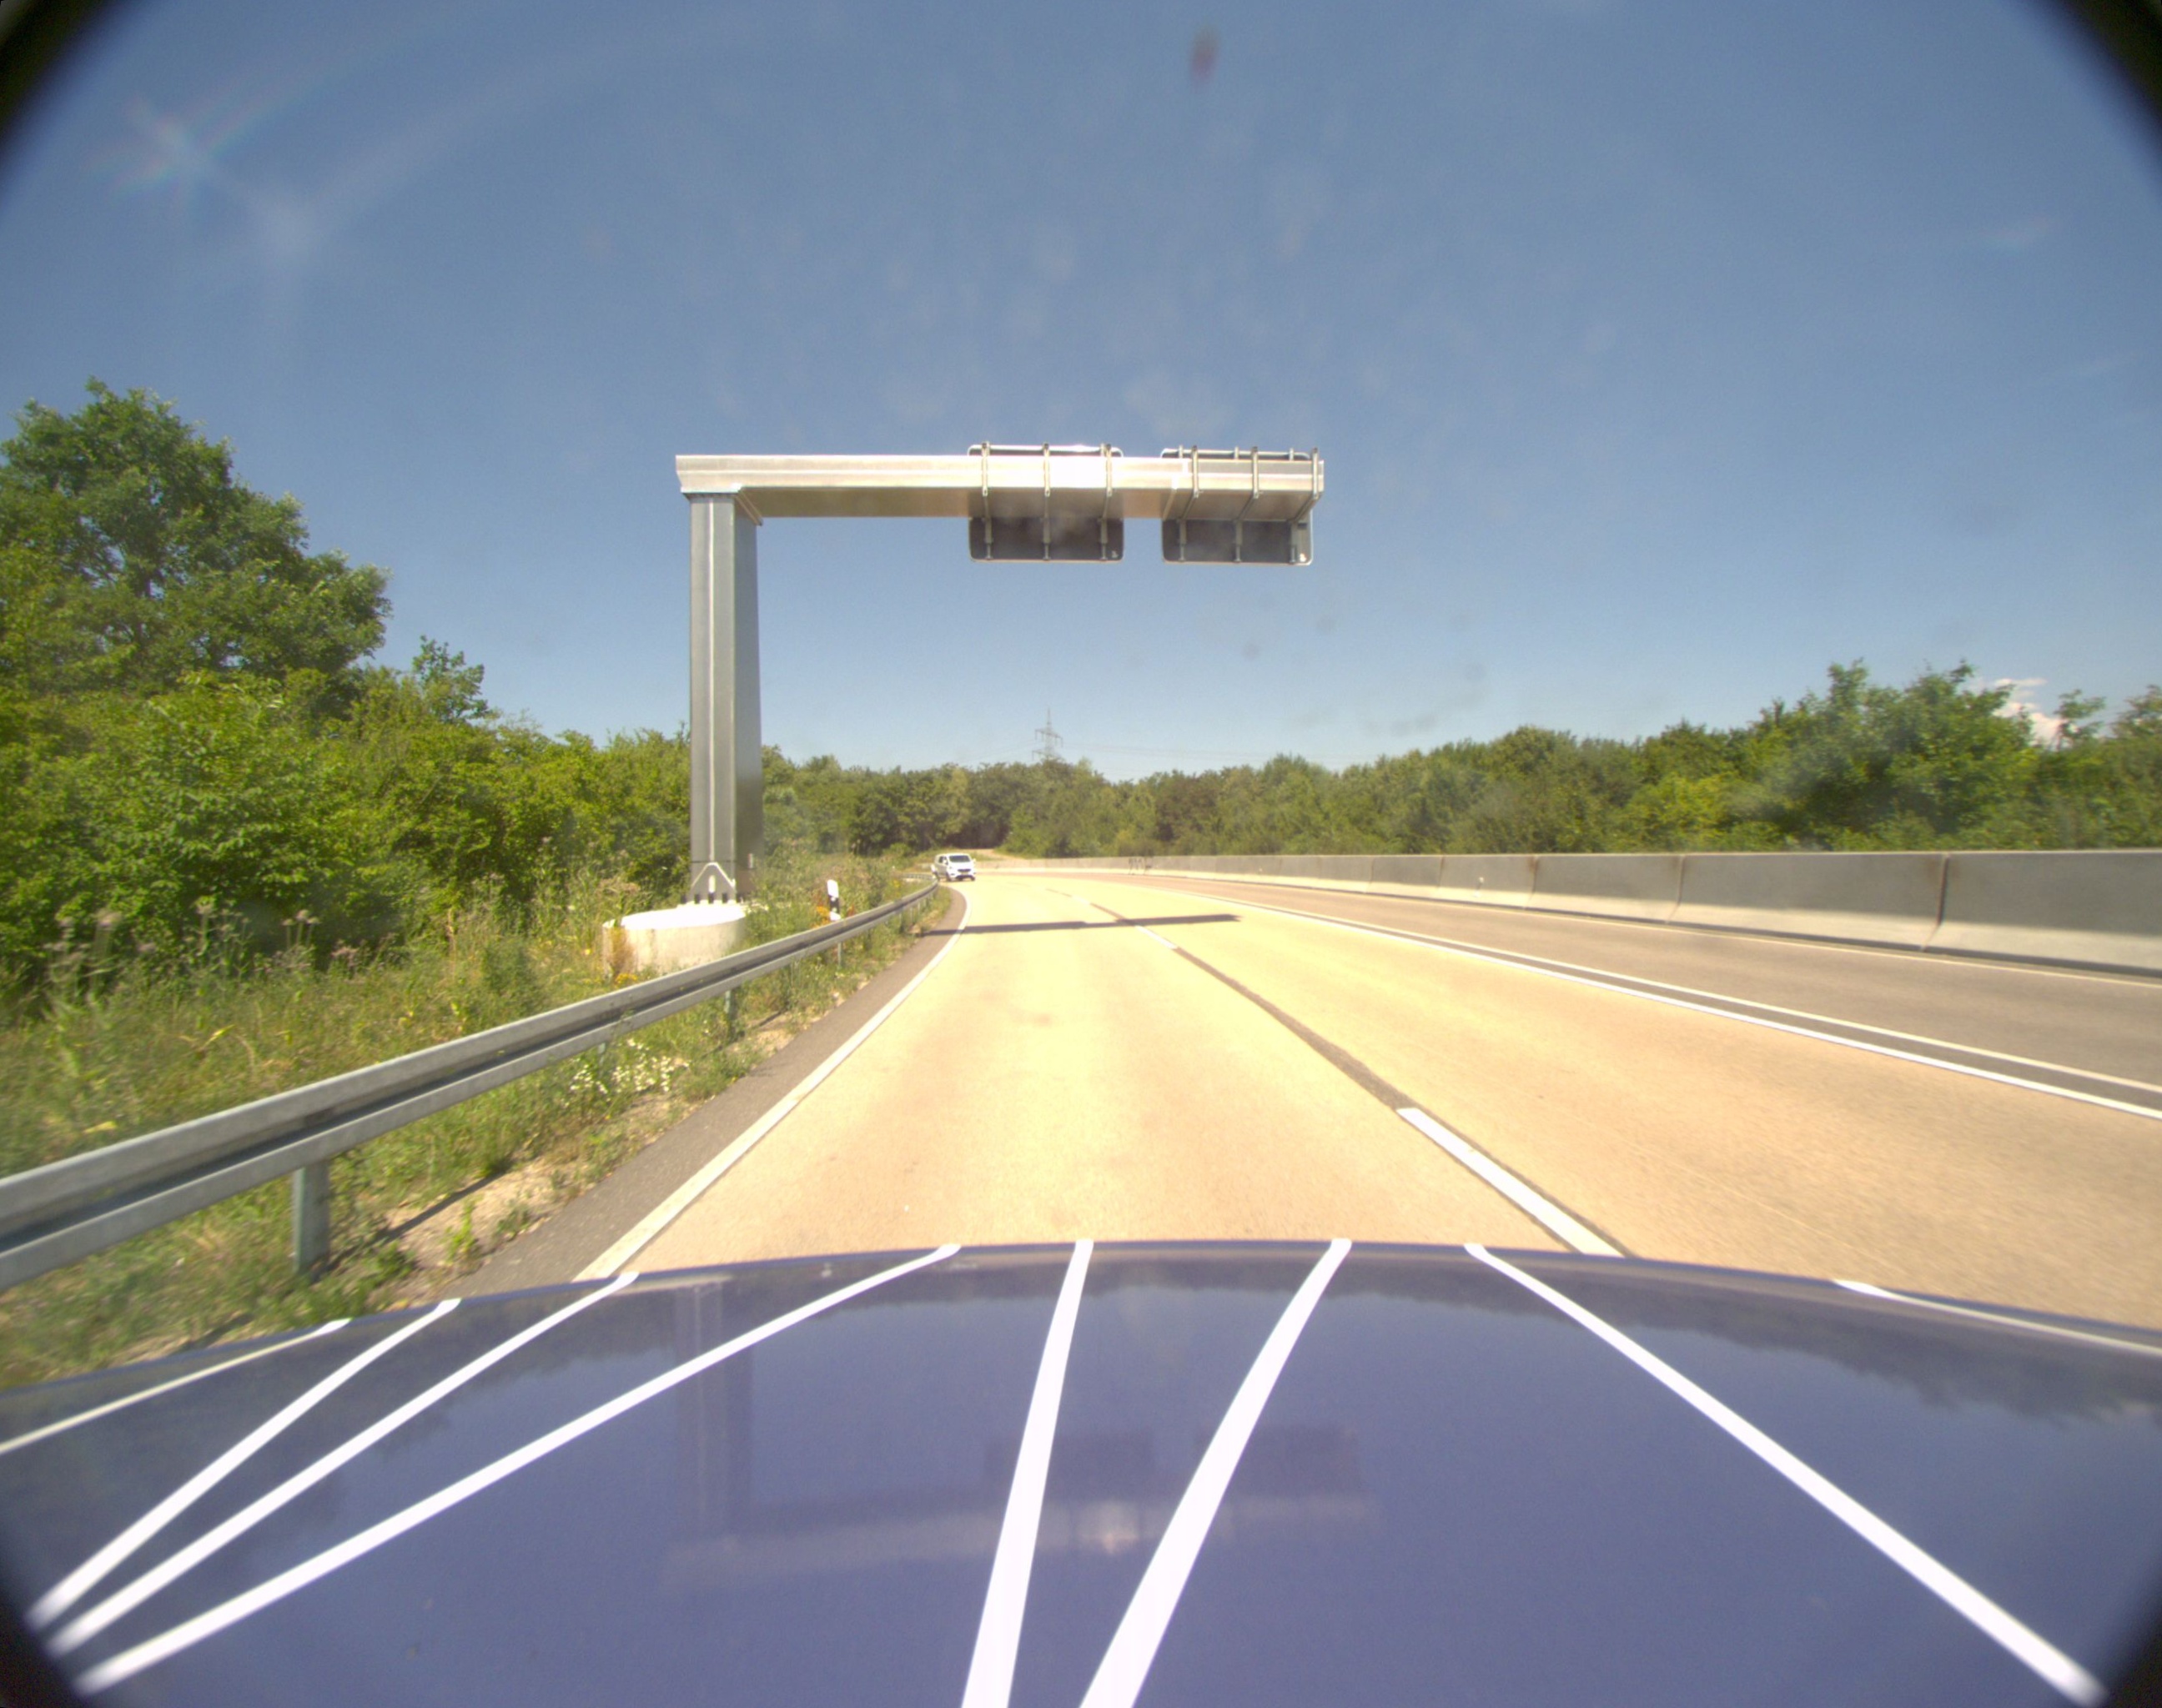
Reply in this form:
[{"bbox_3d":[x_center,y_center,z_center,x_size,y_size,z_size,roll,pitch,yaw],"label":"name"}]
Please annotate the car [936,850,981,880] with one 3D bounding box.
[{"bbox_3d":[-8.917,0.782,54.932,2.066,2.002,5.032,-3,1,-22],"label":"car"}]
